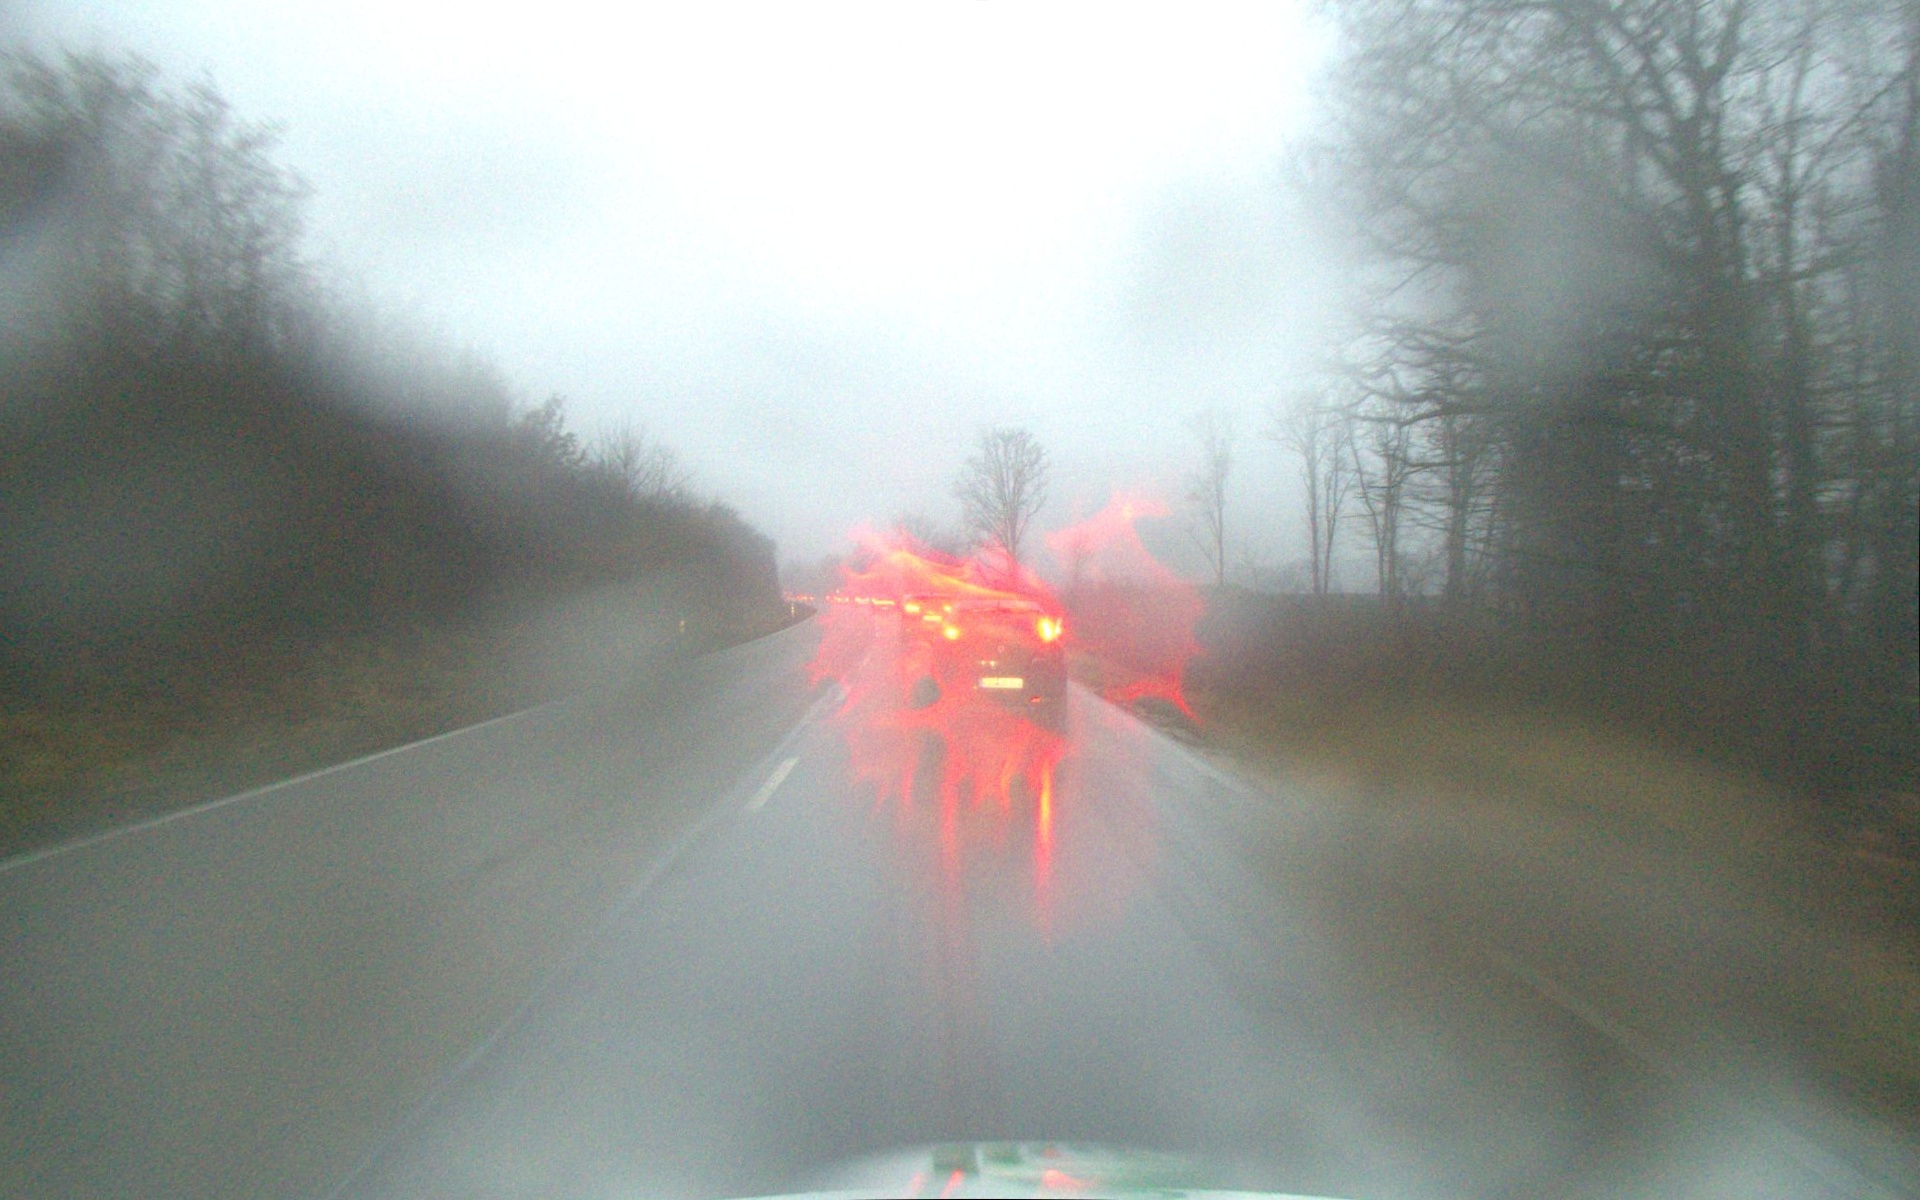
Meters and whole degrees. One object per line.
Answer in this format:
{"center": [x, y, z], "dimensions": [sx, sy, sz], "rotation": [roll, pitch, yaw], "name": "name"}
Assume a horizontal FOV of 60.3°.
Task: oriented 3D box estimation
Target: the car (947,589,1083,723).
{"center": [0.653, 0.649, 21.219], "dimensions": [1.569, 1.549, 3.869], "rotation": [1, 0, 0], "name": "car"}

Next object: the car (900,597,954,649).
{"center": [-0.980, 0.648, 48.470], "dimensions": [1.515, 1.421, 3.868], "rotation": [1, 0, -1], "name": "car"}

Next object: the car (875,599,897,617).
{"center": [-6.182, 0.676, 137.979], "dimensions": [1.515, 1.421, 3.870], "rotation": [1, 0, 1], "name": "car"}
